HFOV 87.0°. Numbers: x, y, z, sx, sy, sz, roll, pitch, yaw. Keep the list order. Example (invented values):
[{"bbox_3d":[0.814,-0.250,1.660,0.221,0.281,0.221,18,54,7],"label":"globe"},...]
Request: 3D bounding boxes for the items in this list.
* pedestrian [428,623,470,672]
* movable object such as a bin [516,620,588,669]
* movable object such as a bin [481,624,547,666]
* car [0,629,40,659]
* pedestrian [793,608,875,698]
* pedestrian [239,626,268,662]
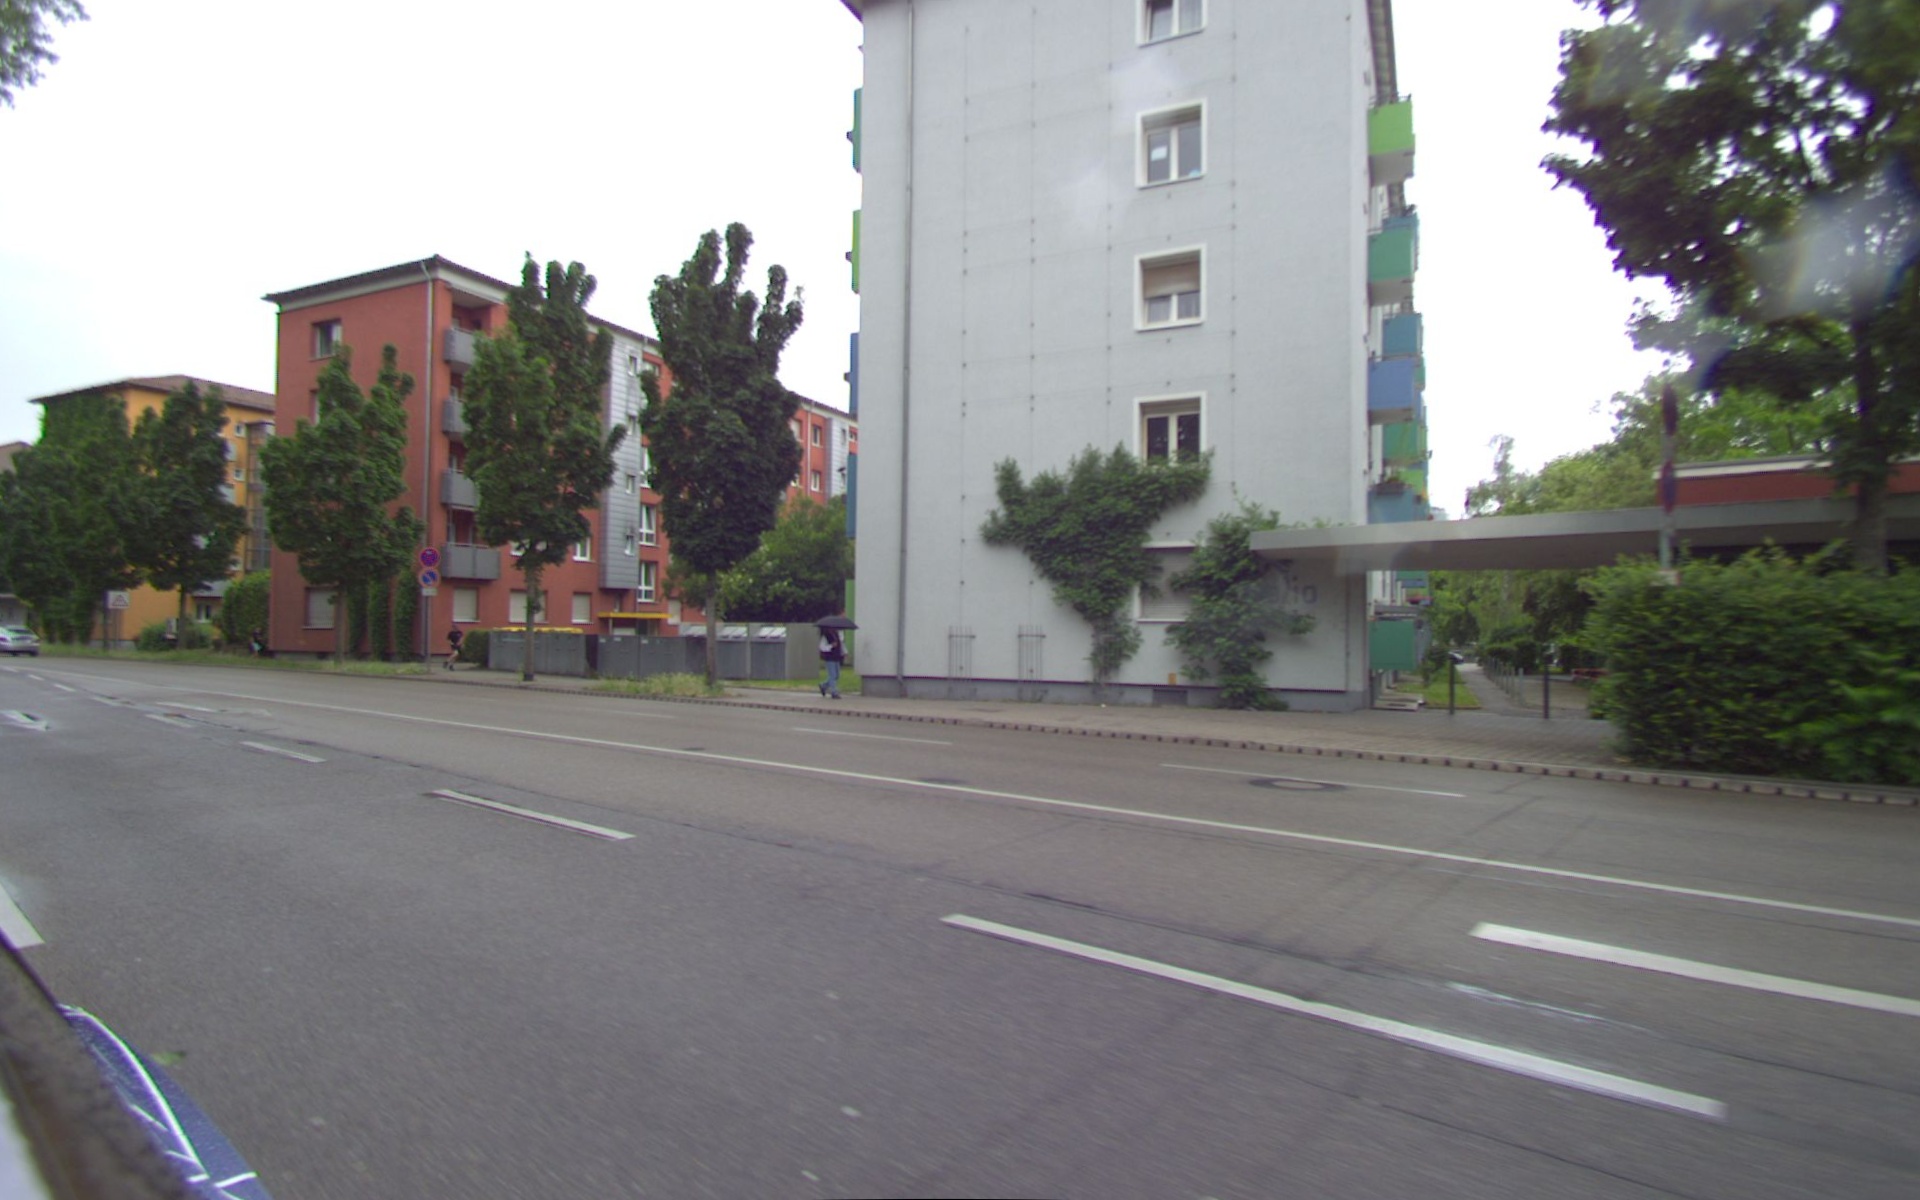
[{"bbox_3d":[-16.246,1.502,32.173,1.066,1.529,0.687,-1,-3,32],"label":"pedestrian"},{"bbox_3d":[-13.046,1.419,32.359,2.082,1.496,1.204,-1,-3,35],"label":"movable object such as a bin"},{"bbox_3d":[-14.809,1.481,33.630,1.962,1.341,1.147,-1,-3,35],"label":"movable object such as a bin"},{"bbox_3d":[-46.361,2.115,48.918,4.617,1.401,1.857,-1,-4,36],"label":"car"},{"bbox_3d":[-2.616,1.092,21.096,1.261,1.818,1.123,-1,-3,38],"label":"pedestrian"},{"bbox_3d":[-29.043,1.797,41.590,0.833,1.460,0.666,-1,-3,32],"label":"pedestrian"}]
